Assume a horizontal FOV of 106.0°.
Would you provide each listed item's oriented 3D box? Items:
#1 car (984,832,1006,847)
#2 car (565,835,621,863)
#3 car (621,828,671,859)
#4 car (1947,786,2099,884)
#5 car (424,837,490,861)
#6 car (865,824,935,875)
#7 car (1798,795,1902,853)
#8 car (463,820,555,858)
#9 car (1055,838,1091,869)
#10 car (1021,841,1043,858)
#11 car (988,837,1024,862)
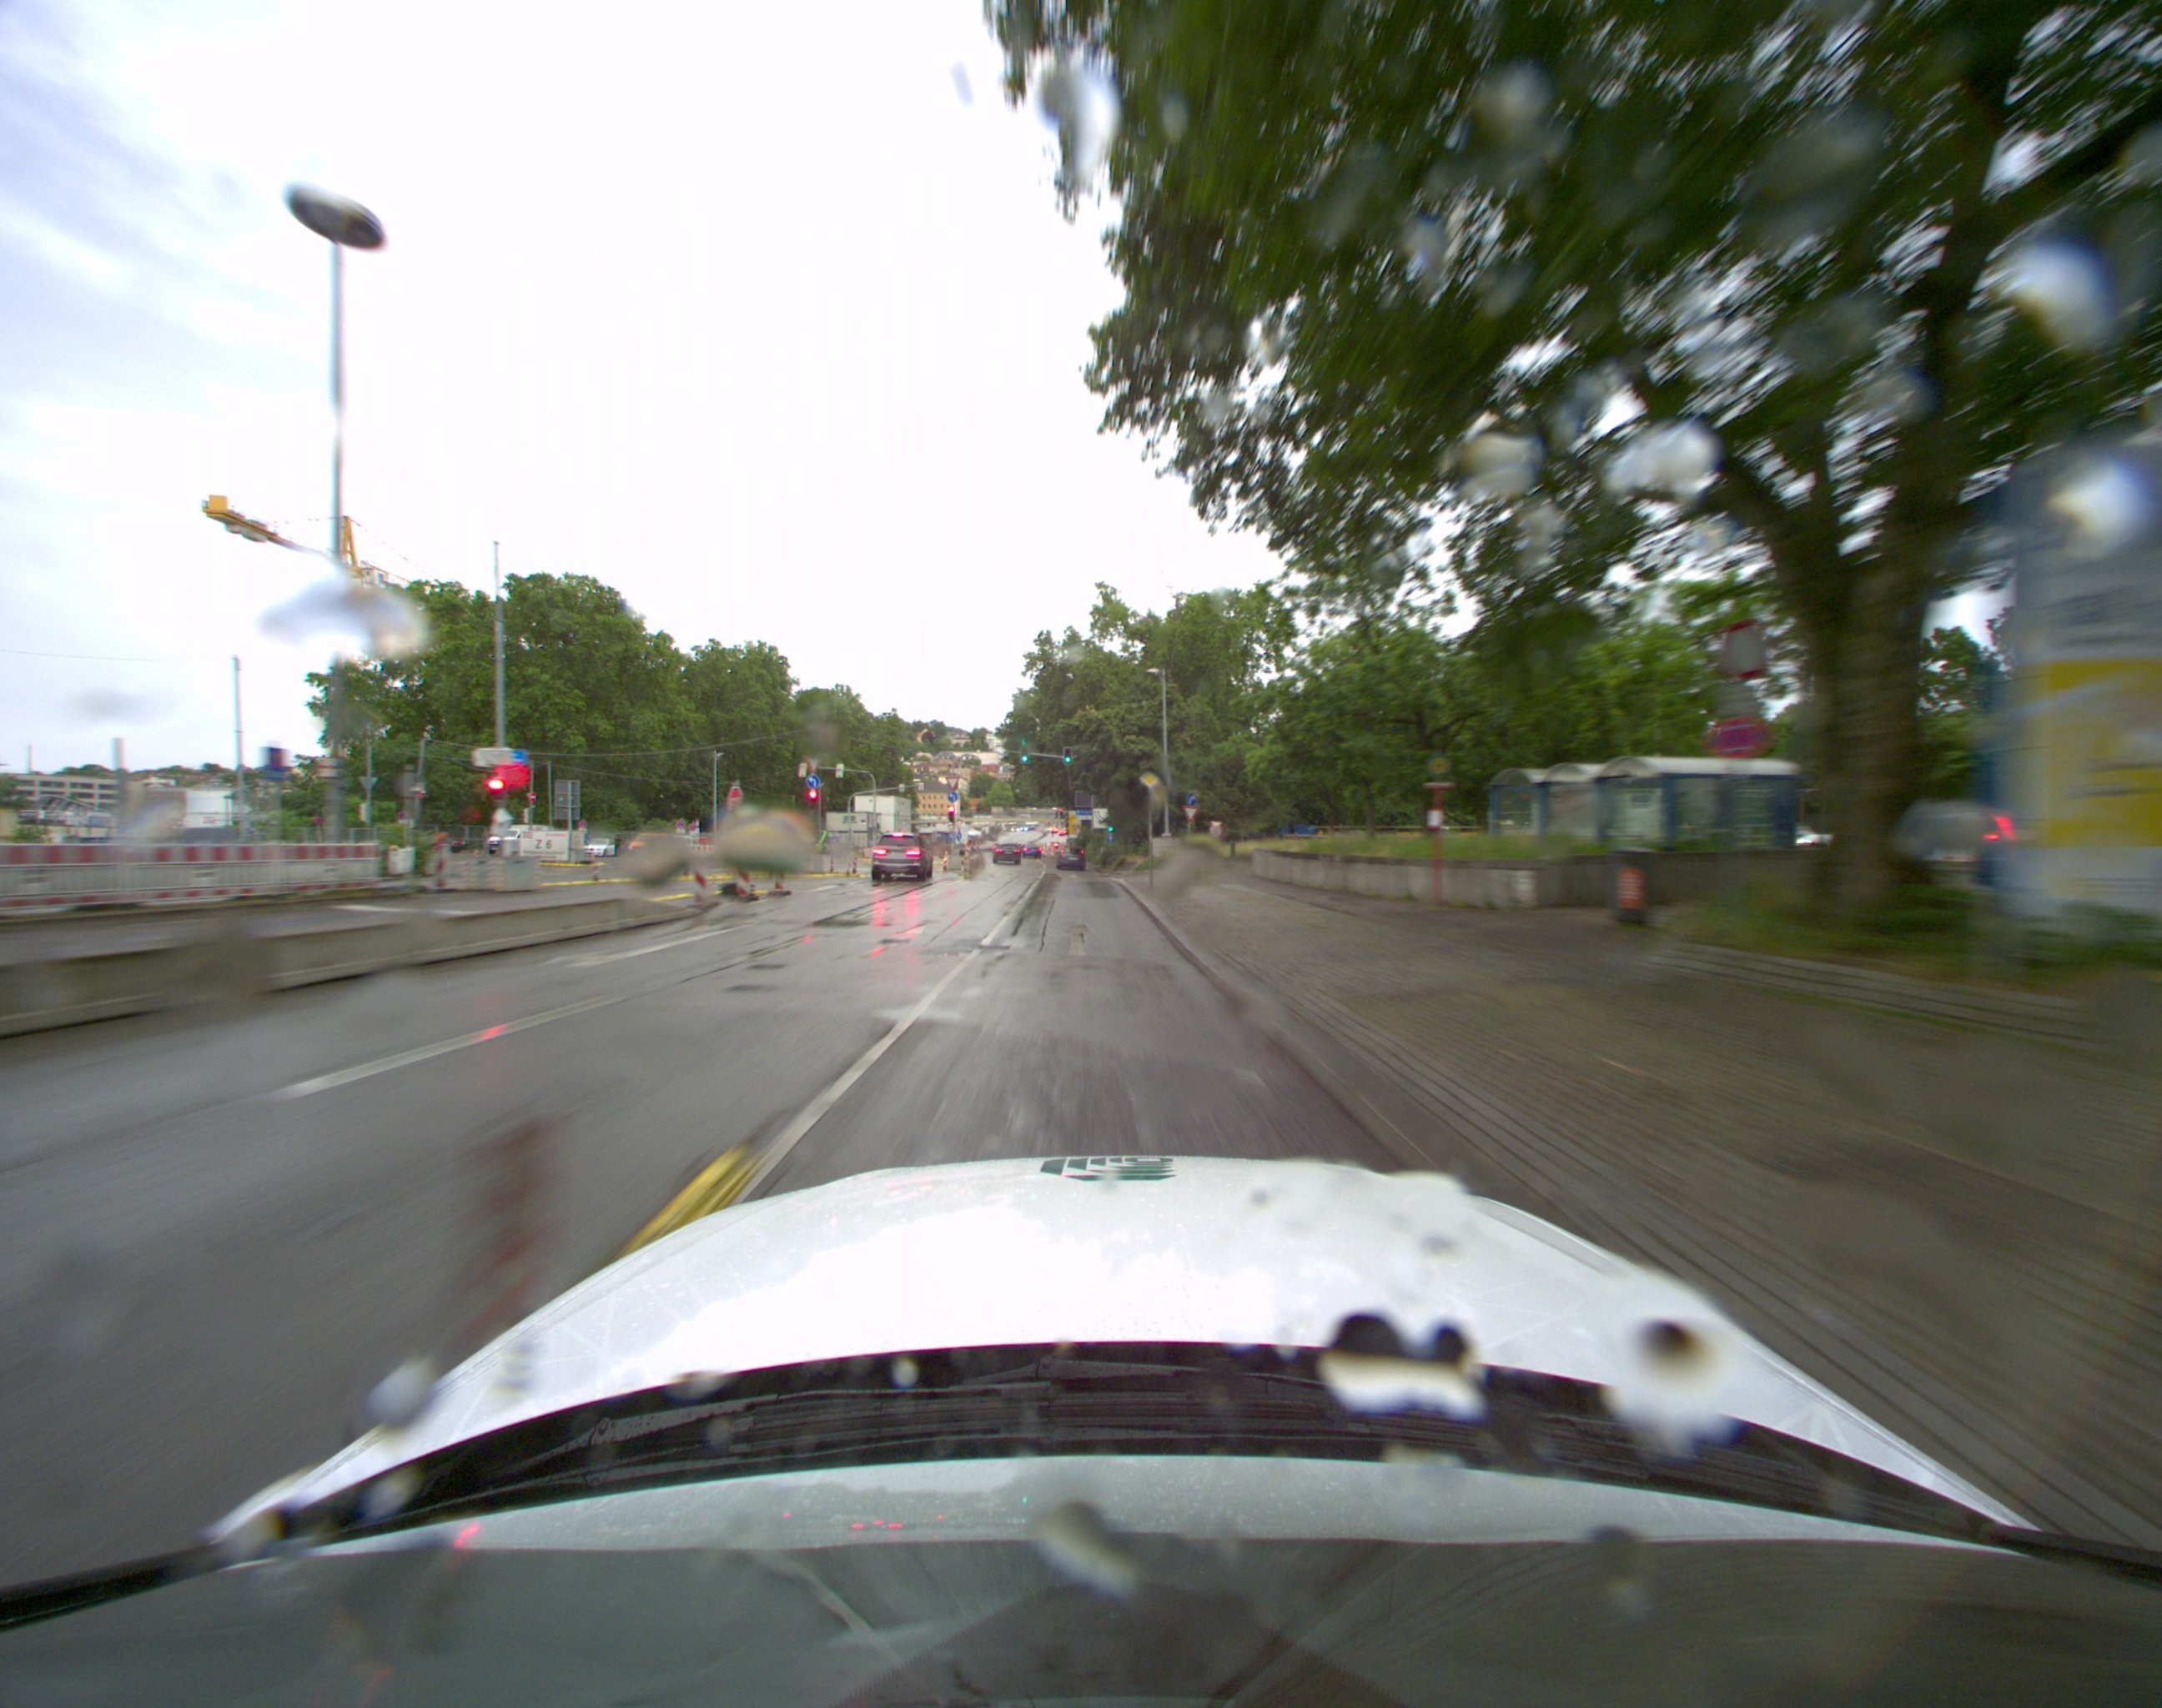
[{"bbox_3d":[-10.076,-1.705,95.457,1.895,1.716,4.005,1,1,4],"label":"car"},{"bbox_3d":[-36.985,-0.412,61.863,1.911,2.013,3.997,-1,1,-3],"label":"car"},{"bbox_3d":[-34.634,-0.841,64.939,1.914,2.361,4.506,-1,1,-6],"label":"car"},{"bbox_3d":[22.085,-0.405,19.172,4.673,2.013,2.109,1,1,-41],"label":"car"},{"bbox_3d":[-47.163,-0.411,61.682,1.679,1.724,4.004,-1,1,4],"label":"car"},{"bbox_3d":[-6.910,-0.193,31.472,1.990,1.826,3.995,1,1,-4],"label":"car"},{"bbox_3d":[26.412,-0.988,27.945,4.476,1.781,1.928,1,1,-38],"label":"car"},{"bbox_3d":[-43.303,-1.111,61.857,2.372,2.701,5.799,-1,1,6],"label":"car"},{"bbox_3d":[-0.439,-0.051,49.063,1.843,1.716,4.005,1,1,4],"label":"car"},{"bbox_3d":[-4.794,-0.493,79.781,1.666,1.581,3.245,1,1,5],"label":"car"},{"bbox_3d":[-5.261,-0.377,57.647,1.822,1.686,4.139,0,1,4],"label":"car"}]
